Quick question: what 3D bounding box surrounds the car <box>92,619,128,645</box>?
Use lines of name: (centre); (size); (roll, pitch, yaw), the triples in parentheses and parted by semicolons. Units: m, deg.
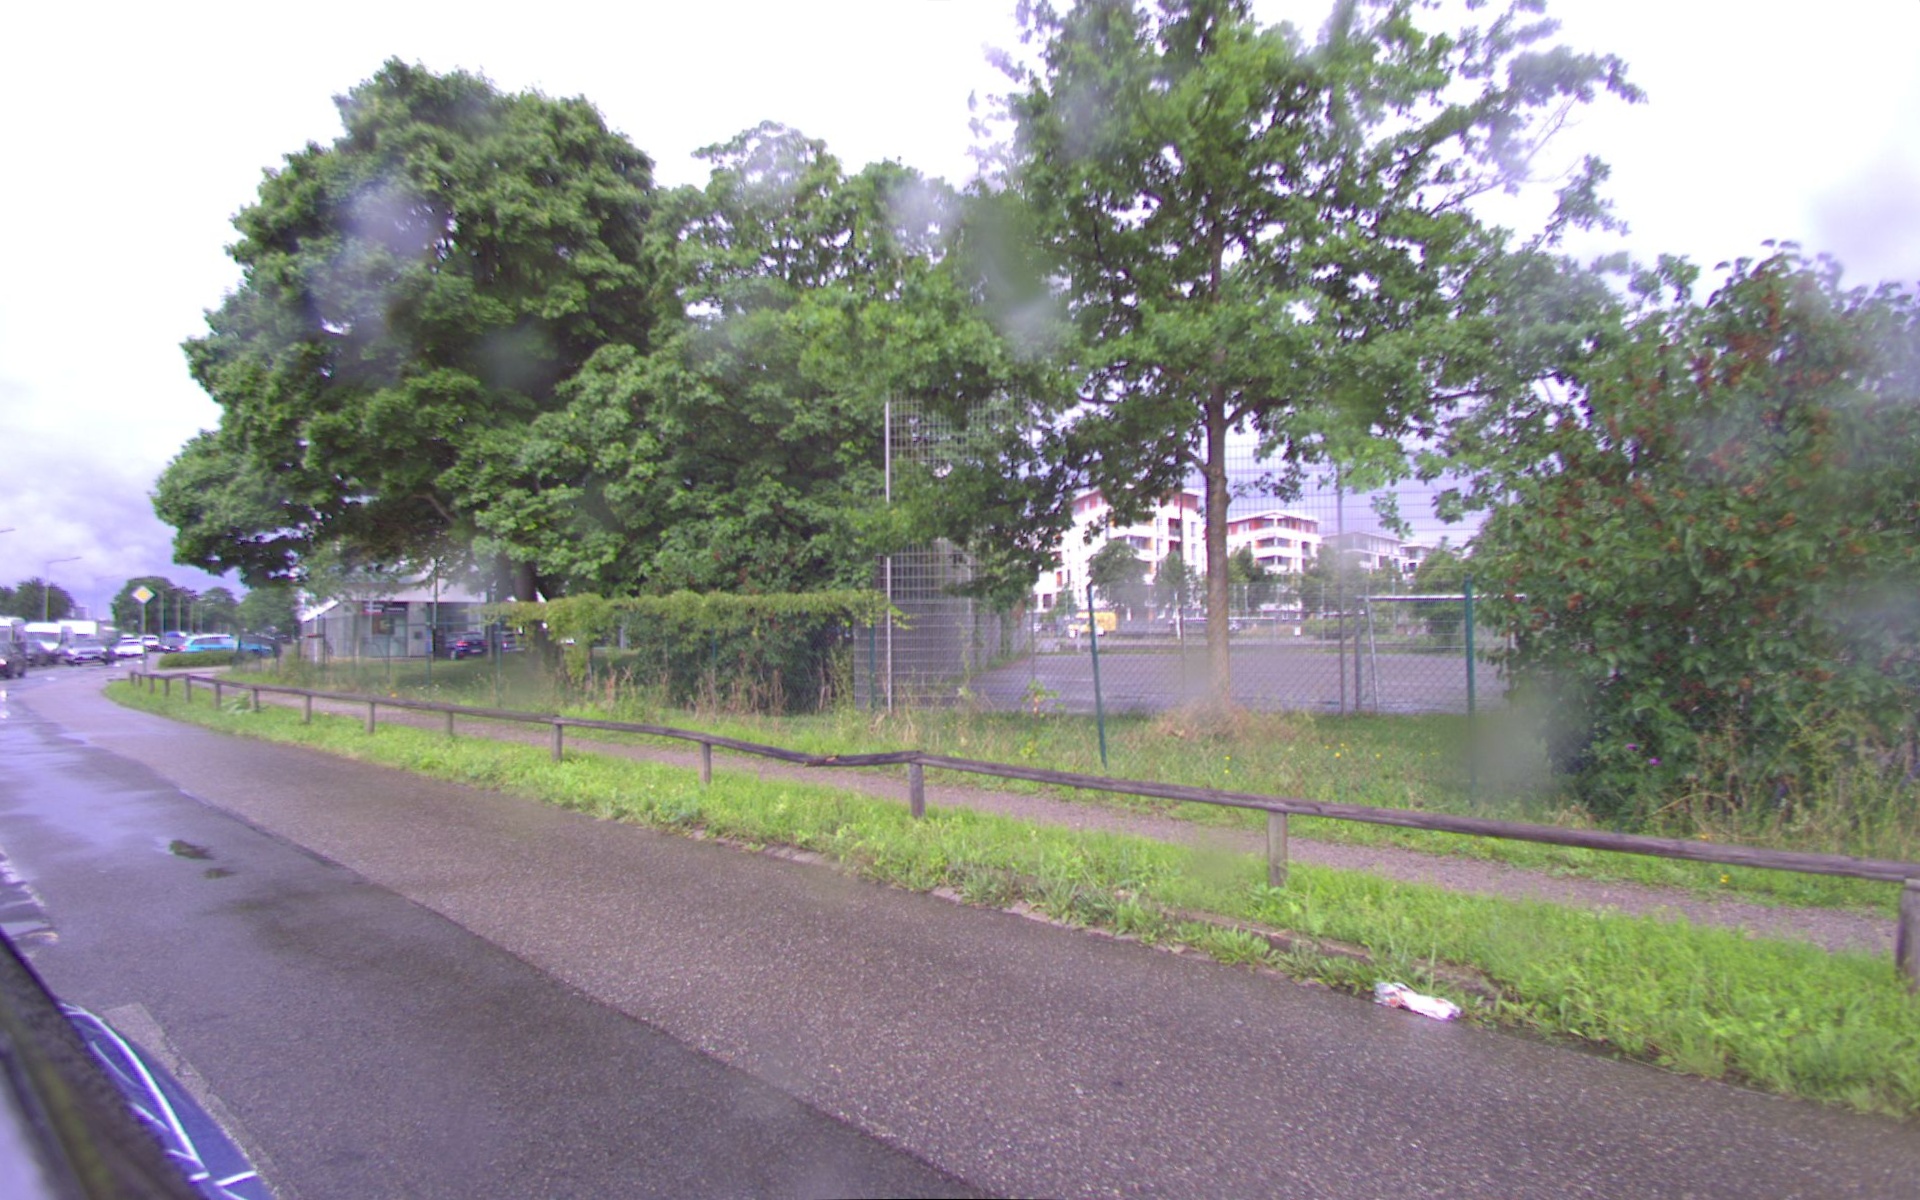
car: (-75.105, 2.837, 89.505); (1.967, 2.259, 4.575); (1, -3, -34)

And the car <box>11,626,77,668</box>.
car: (-59.116, 3.049, 65.444); (2.040, 2.548, 6.675); (3, -4, -33)

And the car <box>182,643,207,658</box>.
car: (-76.145, 5.004, 100.713); (1.634, 1.479, 3.399); (1, -2, -32)

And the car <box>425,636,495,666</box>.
car: (-26.223, 2.650, 53.017); (4.182, 1.407, 1.622); (-1, 0, 38)

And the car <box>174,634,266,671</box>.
car: (-38.935, 2.738, 53.351); (3.758, 1.645, 1.760); (-3, 0, -32)

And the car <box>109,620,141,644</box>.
car: (-81.524, 3.144, 98.887); (1.967, 2.259, 4.575); (1, -3, -34)

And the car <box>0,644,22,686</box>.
car: (-36.623, 2.402, 37.835); (1.845, 1.531, 4.366); (2, -3, -37)

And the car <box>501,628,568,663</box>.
car: (-24.076, 2.533, 57.208); (4.344, 1.849, 1.622); (-1, 0, 38)

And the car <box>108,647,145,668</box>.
car: (-64.283, 4.398, 78.081); (1.812, 1.530, 4.368); (1, -2, -35)

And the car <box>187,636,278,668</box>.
car: (-41.426, 2.942, 57.749); (4.117, 1.561, 1.864); (-3, 0, -35)

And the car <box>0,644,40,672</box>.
car: (-54.453, 3.316, 58.062); (1.706, 1.505, 4.453); (3, -4, -32)

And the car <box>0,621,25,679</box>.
car: (-49.992, 2.503, 51.957); (2.116, 2.905, 5.288); (4, -4, -36)

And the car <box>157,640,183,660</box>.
car: (-86.373, 5.433, 110.689); (1.967, 2.029, 4.009); (-3, 0, -36)

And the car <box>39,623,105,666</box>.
car: (-65.162, 3.273, 74.411); (2.437, 2.978, 6.906); (2, -3, -32)

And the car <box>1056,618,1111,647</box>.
car: (12.311, 3.166, 100.399); (1.967, 2.633, 6.547); (-1, 0, 43)

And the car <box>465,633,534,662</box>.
car: (-24.798, 2.531, 54.410); (4.123, 1.407, 1.667); (-1, 0, 38)

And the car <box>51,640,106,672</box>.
car: (-52.517, 3.304, 60.351); (1.978, 1.718, 4.340); (0, -2, -35)
